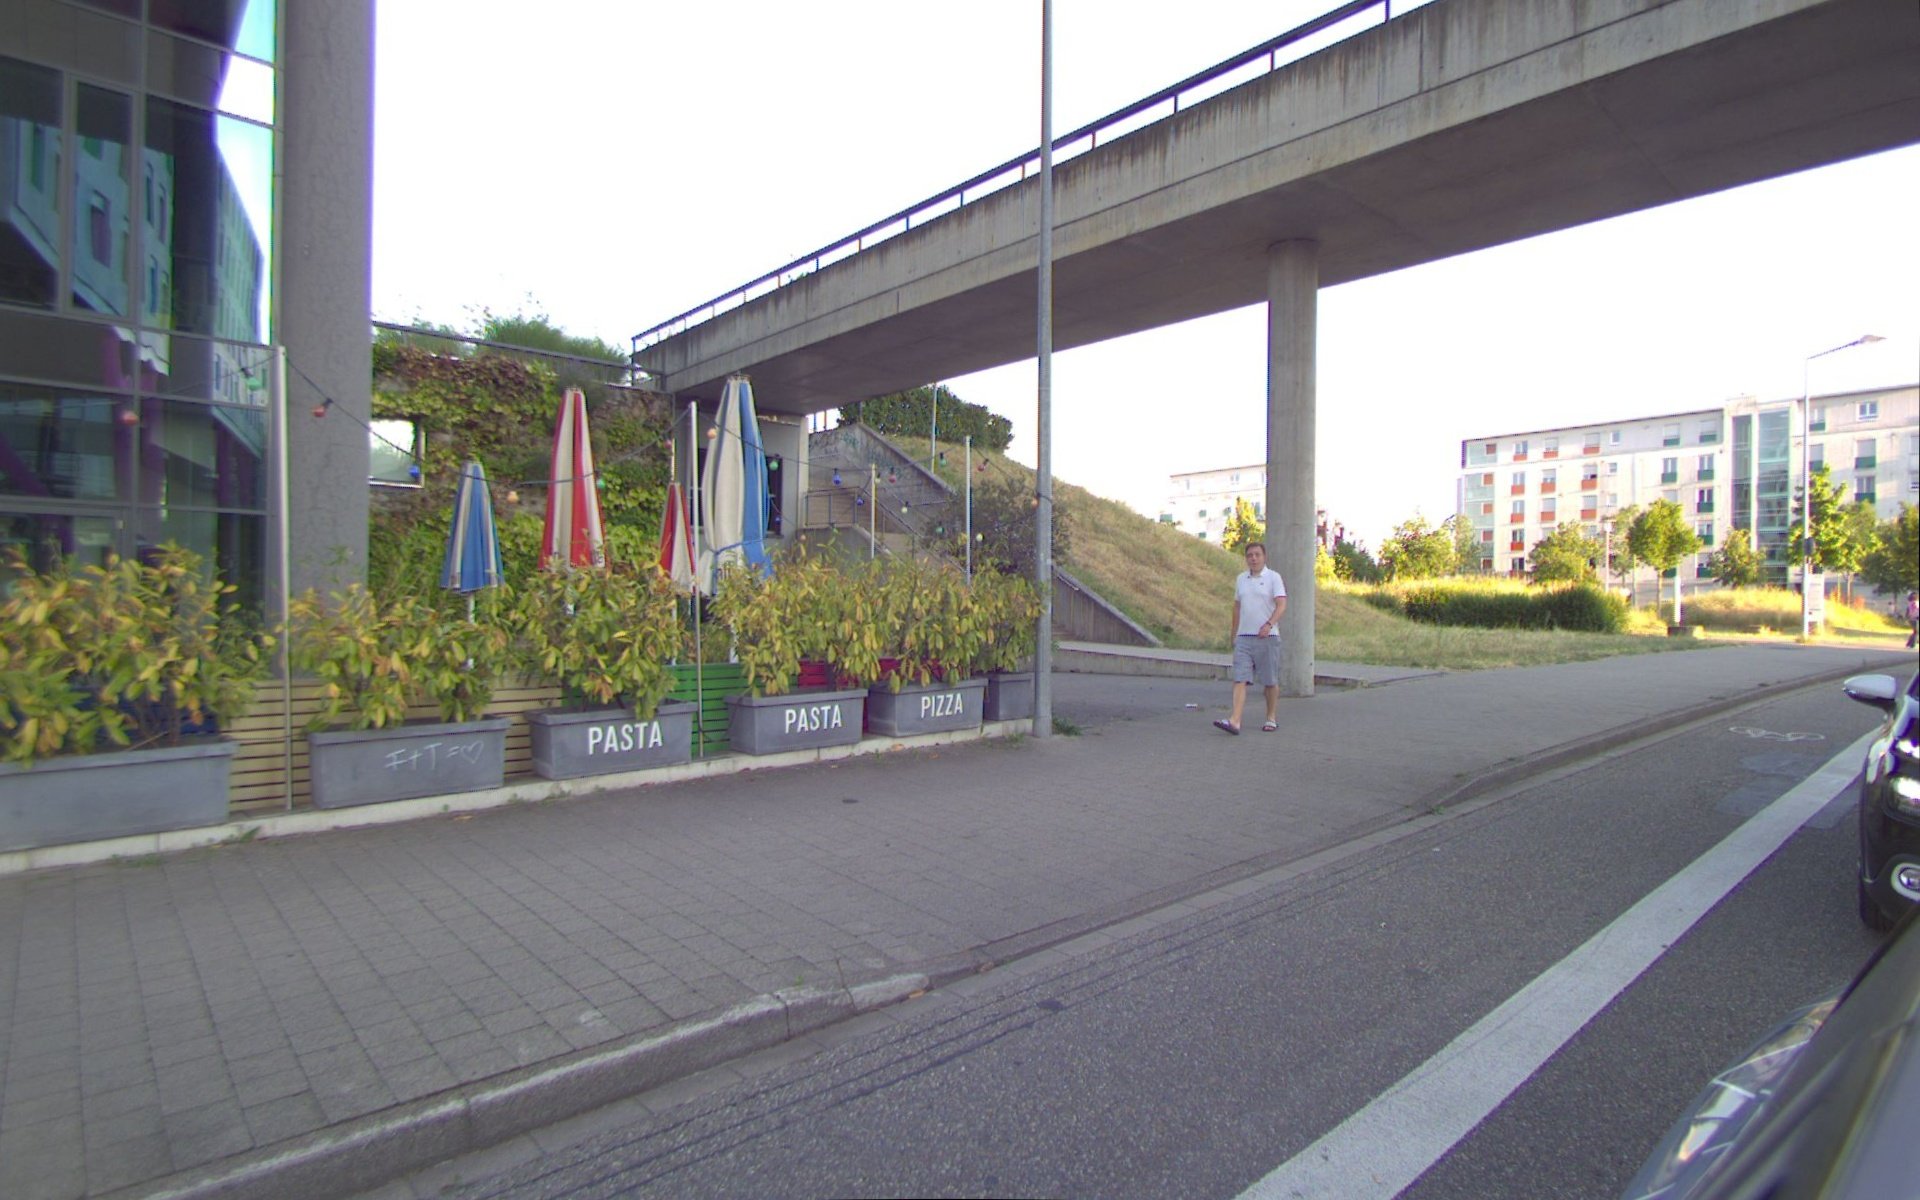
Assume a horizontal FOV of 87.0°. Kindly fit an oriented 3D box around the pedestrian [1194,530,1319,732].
[{"bbox_3d":[2.739,0.262,9.335,0.890,1.746,0.737,1,0,-40],"label":"pedestrian"}]

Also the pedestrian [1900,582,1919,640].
[{"bbox_3d":[27.679,0.311,29.153,0.844,1.649,0.737,1,2,-40],"label":"pedestrian"}]

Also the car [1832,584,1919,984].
[{"bbox_3d":[5.442,0.693,4.563,3.930,1.482,1.738,0,0,-41],"label":"car"}]

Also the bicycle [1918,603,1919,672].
[{"bbox_3d":[18.194,0.674,18.486,2.394,1.240,0.662,0,0,-38],"label":"bicycle"}]

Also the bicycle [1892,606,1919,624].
[{"bbox_3d":[63.375,0.989,67.473,0.892,1.163,3.465,0,0,27],"label":"bicycle"}]

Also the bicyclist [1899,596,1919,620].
[{"bbox_3d":[63.167,0.538,67.211,0.923,1.615,1.058,0,0,26],"label":"bicyclist"}]
